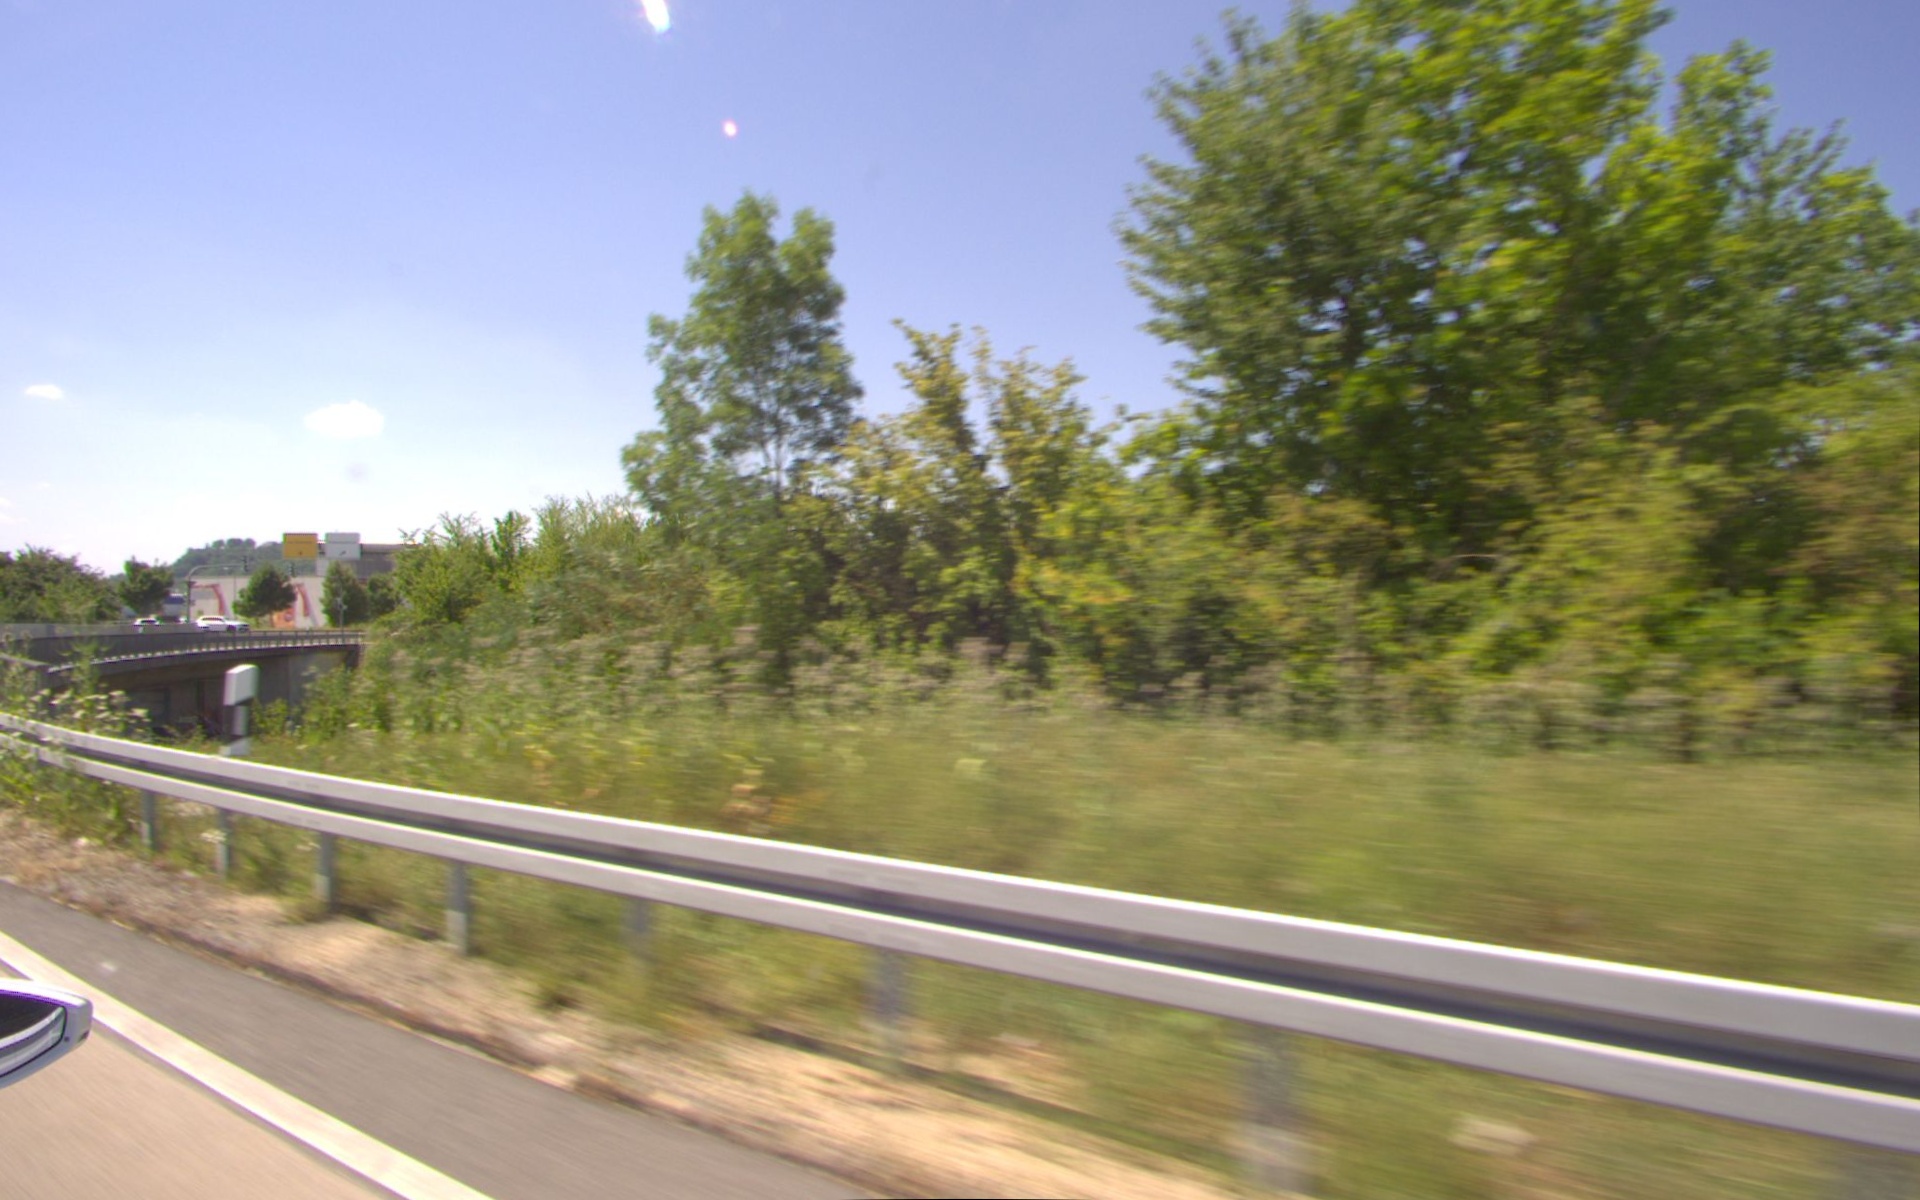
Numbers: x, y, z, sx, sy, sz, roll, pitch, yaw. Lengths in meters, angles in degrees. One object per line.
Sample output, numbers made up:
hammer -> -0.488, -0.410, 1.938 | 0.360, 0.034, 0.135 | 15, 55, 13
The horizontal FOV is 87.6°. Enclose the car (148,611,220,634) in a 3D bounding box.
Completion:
car -> -71.395, 2.093, 92.213 | 4.774, 1.990, 2.100 | 1, -2, -12
